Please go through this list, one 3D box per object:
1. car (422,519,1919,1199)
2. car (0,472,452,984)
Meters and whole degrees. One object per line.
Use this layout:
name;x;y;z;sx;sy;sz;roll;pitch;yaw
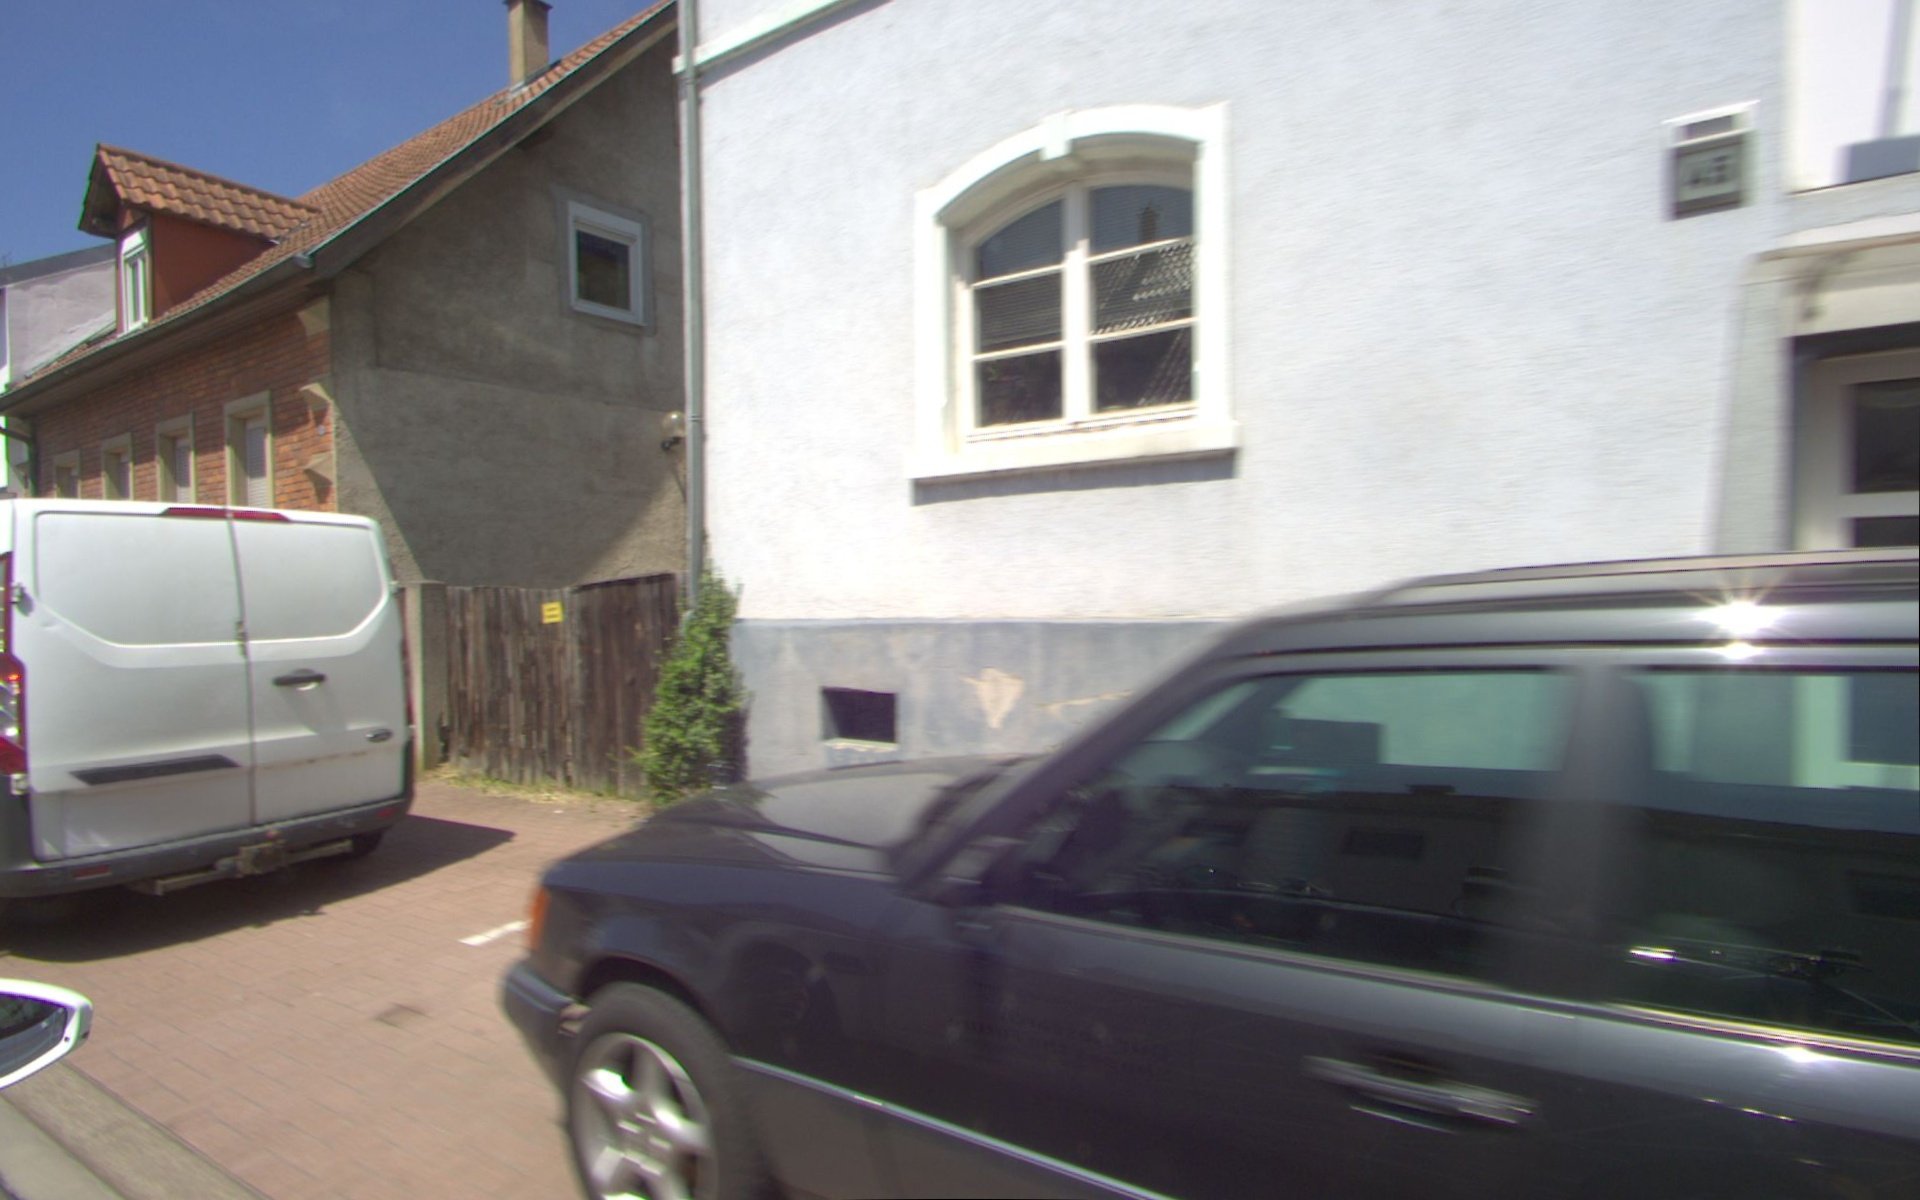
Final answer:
car;1.033;0.654;2.010;4.513;1.485;1.765;-1;1;33
car;-5.303;0.508;5.887;4.715;1.997;1.942;-1;1;32
